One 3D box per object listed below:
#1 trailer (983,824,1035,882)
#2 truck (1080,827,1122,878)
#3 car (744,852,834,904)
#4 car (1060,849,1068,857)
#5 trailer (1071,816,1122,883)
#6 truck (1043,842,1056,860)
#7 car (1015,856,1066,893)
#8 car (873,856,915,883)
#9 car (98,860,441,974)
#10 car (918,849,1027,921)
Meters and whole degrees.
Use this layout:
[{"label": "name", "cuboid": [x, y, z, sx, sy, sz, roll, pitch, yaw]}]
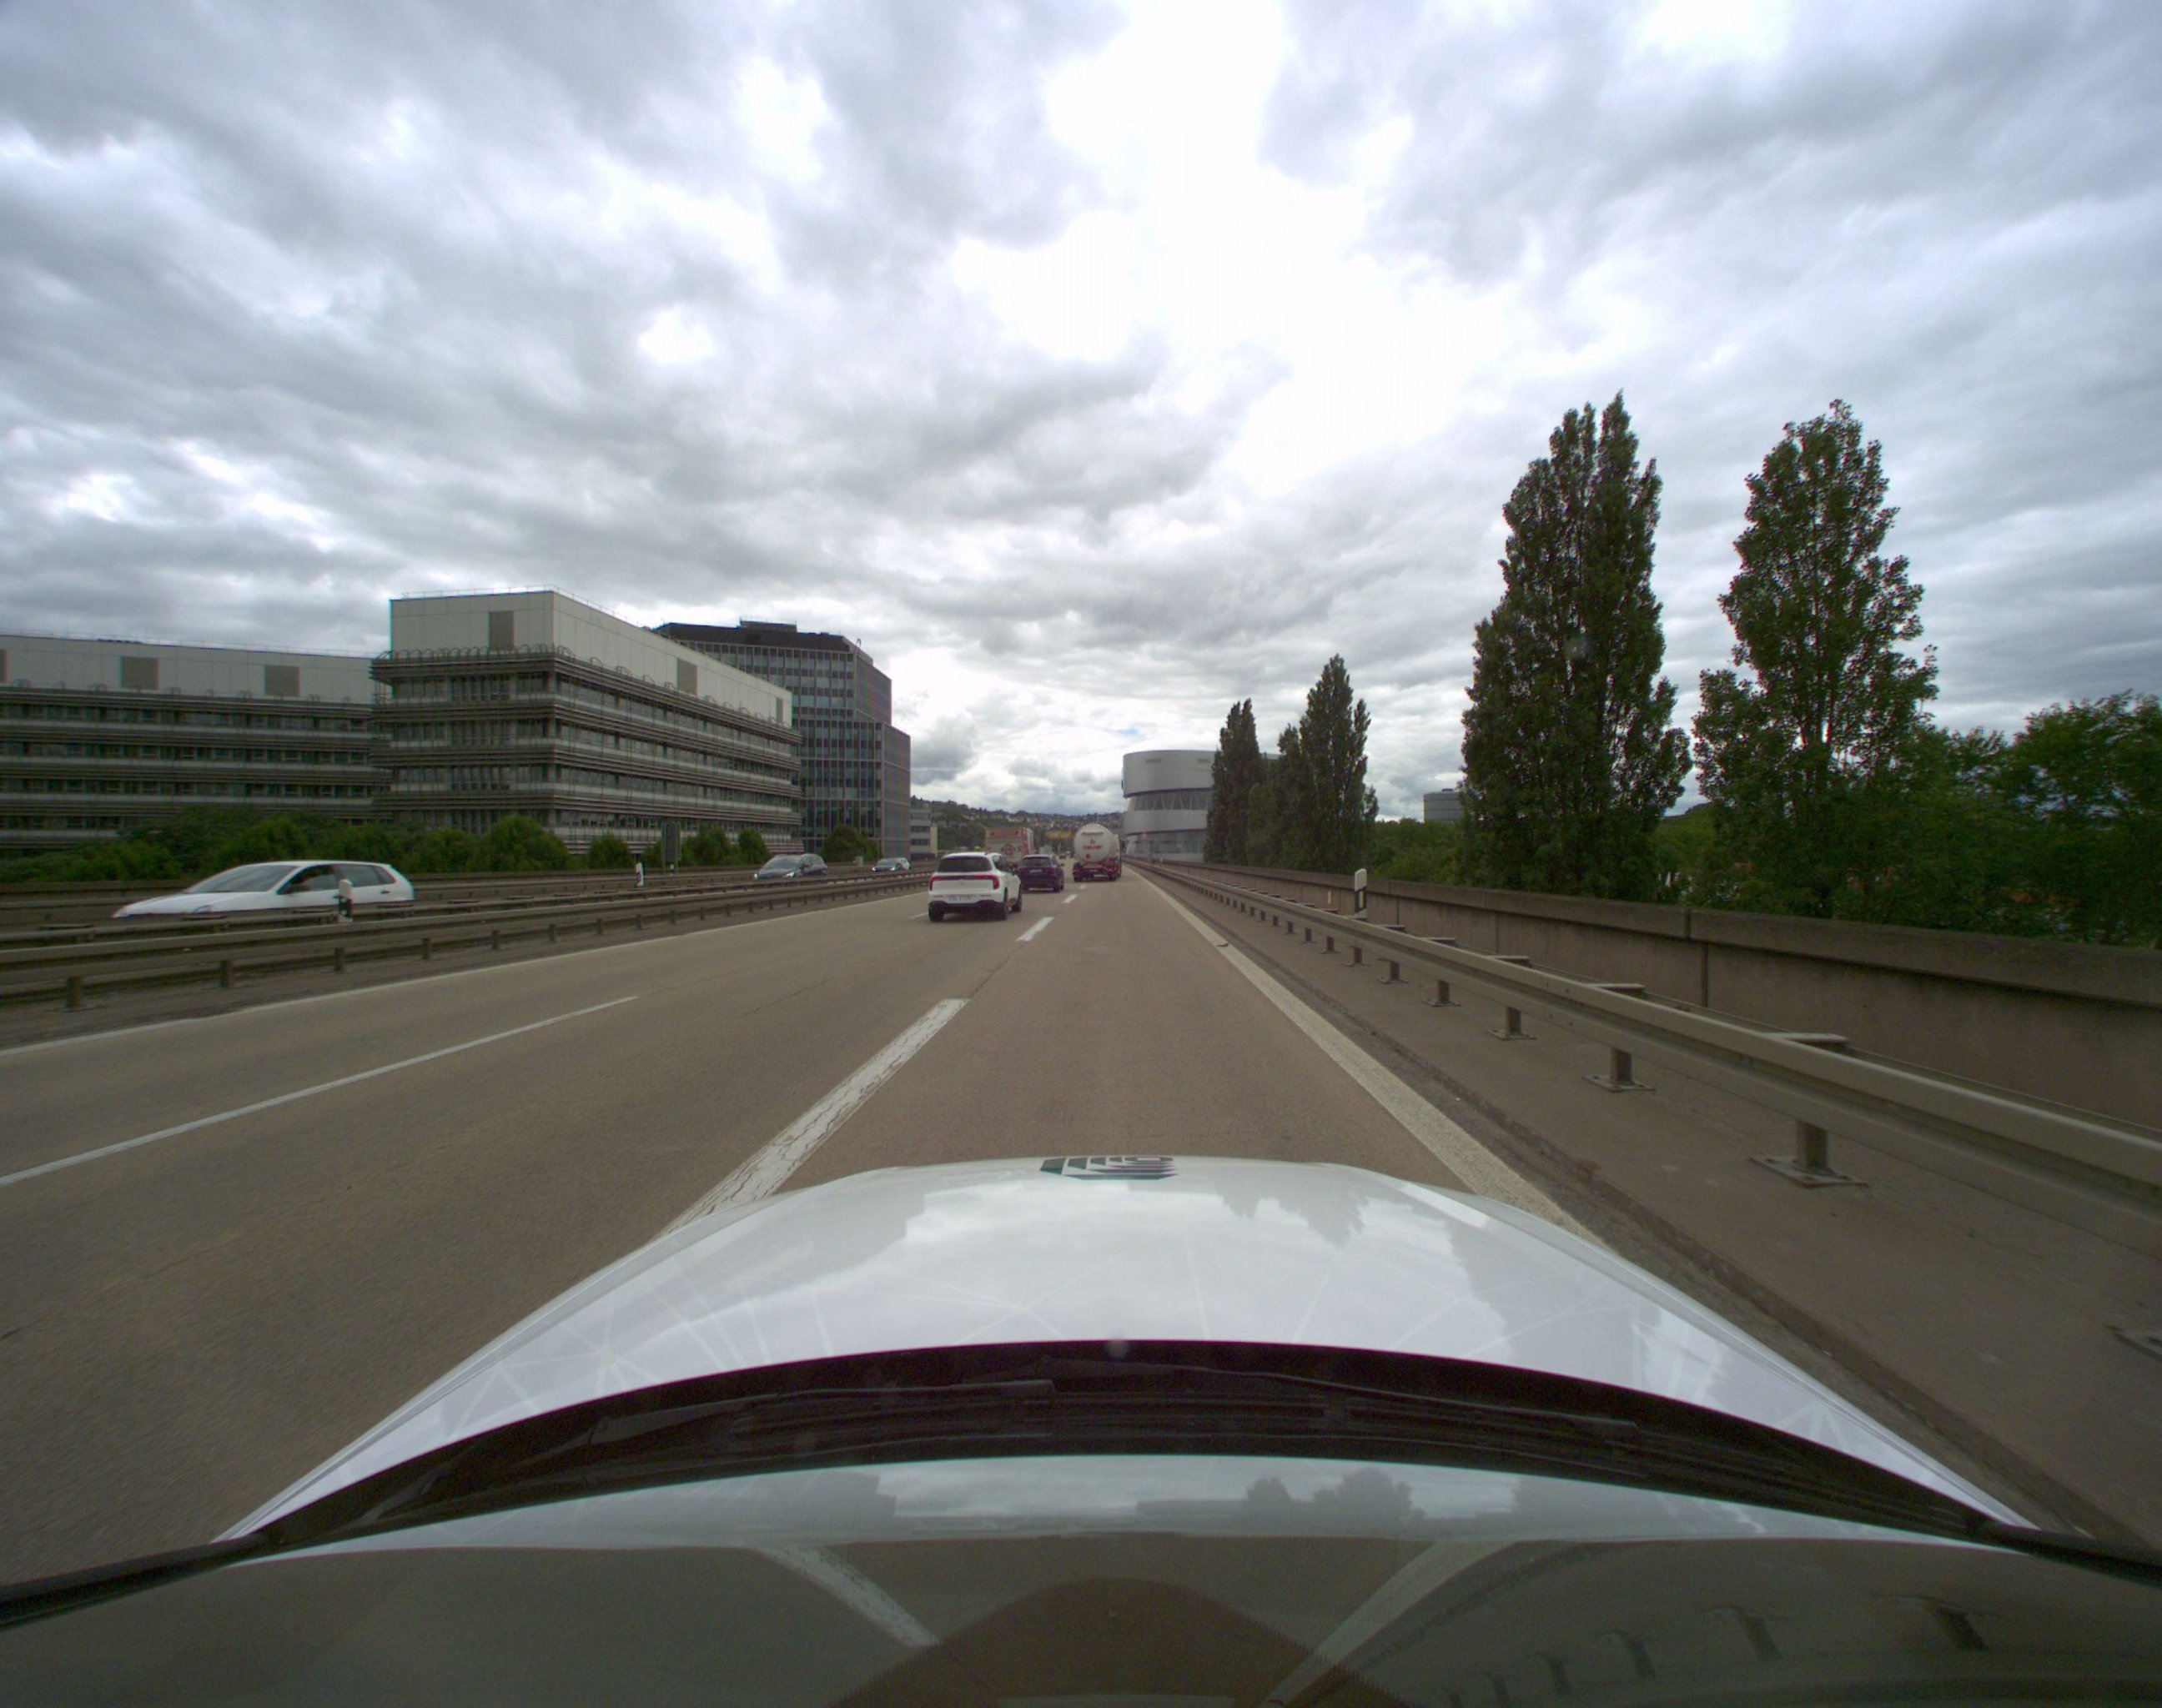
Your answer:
[{"label": "trailer", "cuboid": [-4.877, -0.062, 56.622, 2.680, 3.690, 7.315, -2, 0, 1]}, {"label": "truck", "cuboid": [1.546, -0.147, 59.113, 2.758, 3.430, 5.970, -2, 0, 3]}, {"label": "car", "cuboid": [-12.414, 0.958, 34.978, 1.985, 2.013, 4.554, -2, 0, 3]}, {"label": "car", "cuboid": [-4.255, -0.203, 209.055, 1.988, 2.013, 3.997, -2, 0, -2]}, {"label": "trailer", "cuboid": [1.166, -0.290, 52.558, 2.780, 3.737, 11.165, -2, 0, 3]}, {"label": "truck", "cuboid": [-6.951, -0.615, 180.116, 2.386, 3.893, 5.946, -2, 0, 2]}, {"label": "car", "cuboid": [-1.703, 0.841, 35.420, 1.839, 1.505, 4.267, 1, 0, 2]}, {"label": "car", "cuboid": [-13.475, 1.115, 58.956, 1.987, 1.793, 4.001, -2, 0, 1]}, {"label": "car", "cuboid": [-13.421, 0.939, 13.889, 1.743, 1.560, 4.001, -2, 0, 1]}, {"label": "car", "cuboid": [-2.667, 0.730, 21.244, 1.985, 1.668, 4.895, 0, 0, 3]}]
